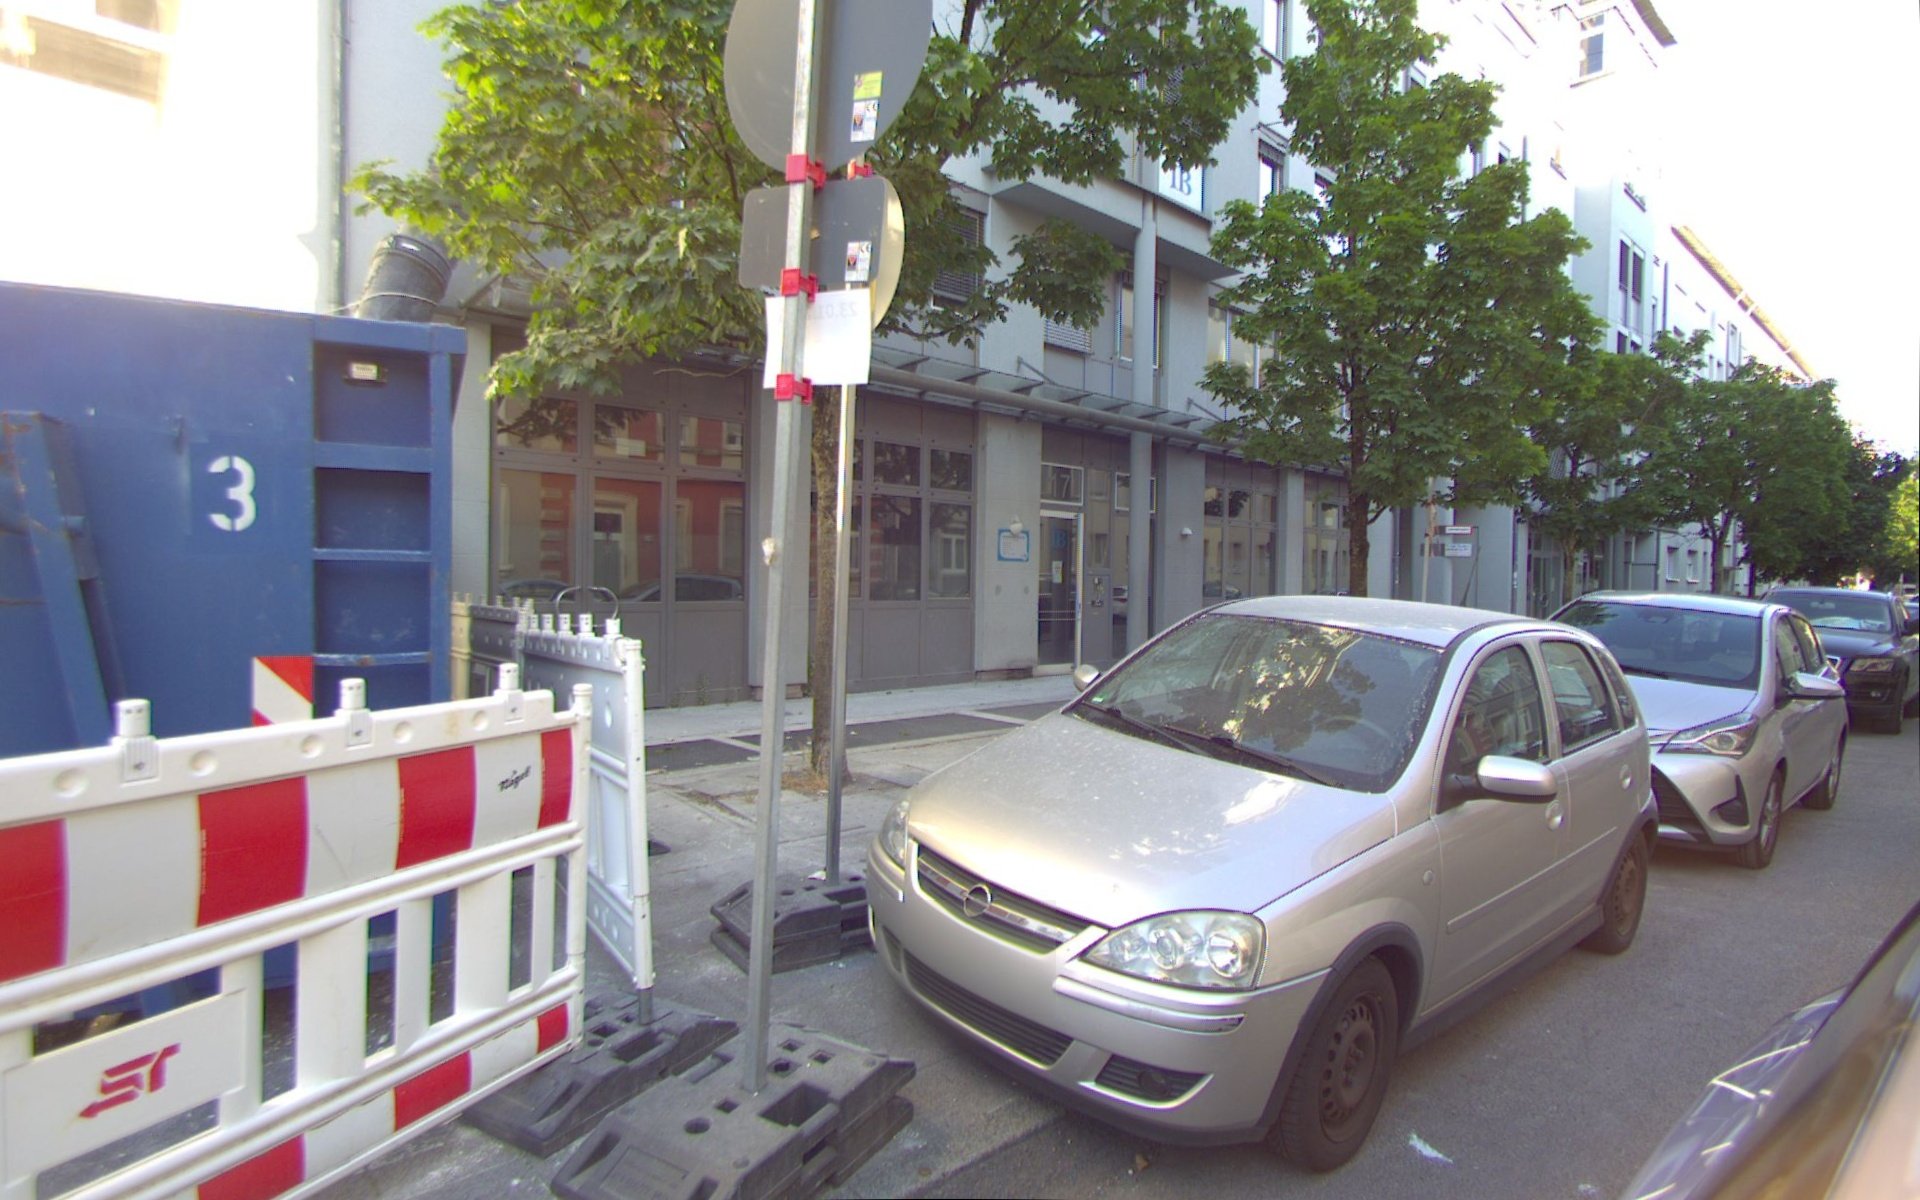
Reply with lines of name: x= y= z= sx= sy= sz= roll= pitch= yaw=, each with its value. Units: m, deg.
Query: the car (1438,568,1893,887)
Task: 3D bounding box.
car: x=5.018 y=0.607 z=6.986 sx=3.902 sy=1.543 sz=1.679 roll=0 pitch=3 yaw=-42

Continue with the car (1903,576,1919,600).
car: x=96.757 y=-1.164 z=101.389 sx=2.147 sy=2.311 sz=6.135 roll=3 pitch=3 yaw=33

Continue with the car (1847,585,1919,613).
car: x=59.928 y=-0.057 z=65.224 sx=1.968 sy=1.584 sz=3.991 roll=0 pitch=4 yaw=-44

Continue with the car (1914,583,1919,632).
car: x=34.891 y=0.283 z=35.488 sx=4.646 sy=1.655 sz=1.873 roll=-1 pitch=3 yaw=-45

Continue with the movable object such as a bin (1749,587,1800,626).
movable object such as a bin: x=29.286 y=0.222 z=36.385 sx=1.120 sy=1.337 sz=1.263 roll=0 pitch=3 yaw=-43

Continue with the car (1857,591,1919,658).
car: x=22.958 y=0.546 z=24.234 sx=4.272 sy=1.446 sz=1.766 roll=-1 pitch=3 yaw=-43

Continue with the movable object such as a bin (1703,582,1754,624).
movable object such as a bin: x=28.232 y=0.106 z=37.179 sx=1.120 sy=1.454 sz=1.263 roll=0 pitch=3 yaw=-43

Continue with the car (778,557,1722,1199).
car: x=1.350 y=0.647 z=3.859 sx=3.664 sy=1.493 sz=1.680 roll=0 pitch=3 yaw=-40

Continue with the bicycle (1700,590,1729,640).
bicycle: x=19.235 y=0.366 z=25.828 sx=0.518 sy=1.182 sz=1.718 roll=3 pitch=3 yaw=36

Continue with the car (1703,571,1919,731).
car: x=11.247 y=0.511 z=13.028 sx=4.360 sy=1.642 sz=1.888 roll=0 pitch=3 yaw=-43

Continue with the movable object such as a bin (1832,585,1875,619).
movable object such as a bin: x=40.175 y=0.094 z=45.514 sx=1.203 sy=1.454 sz=1.286 roll=0 pitch=3 yaw=-43
